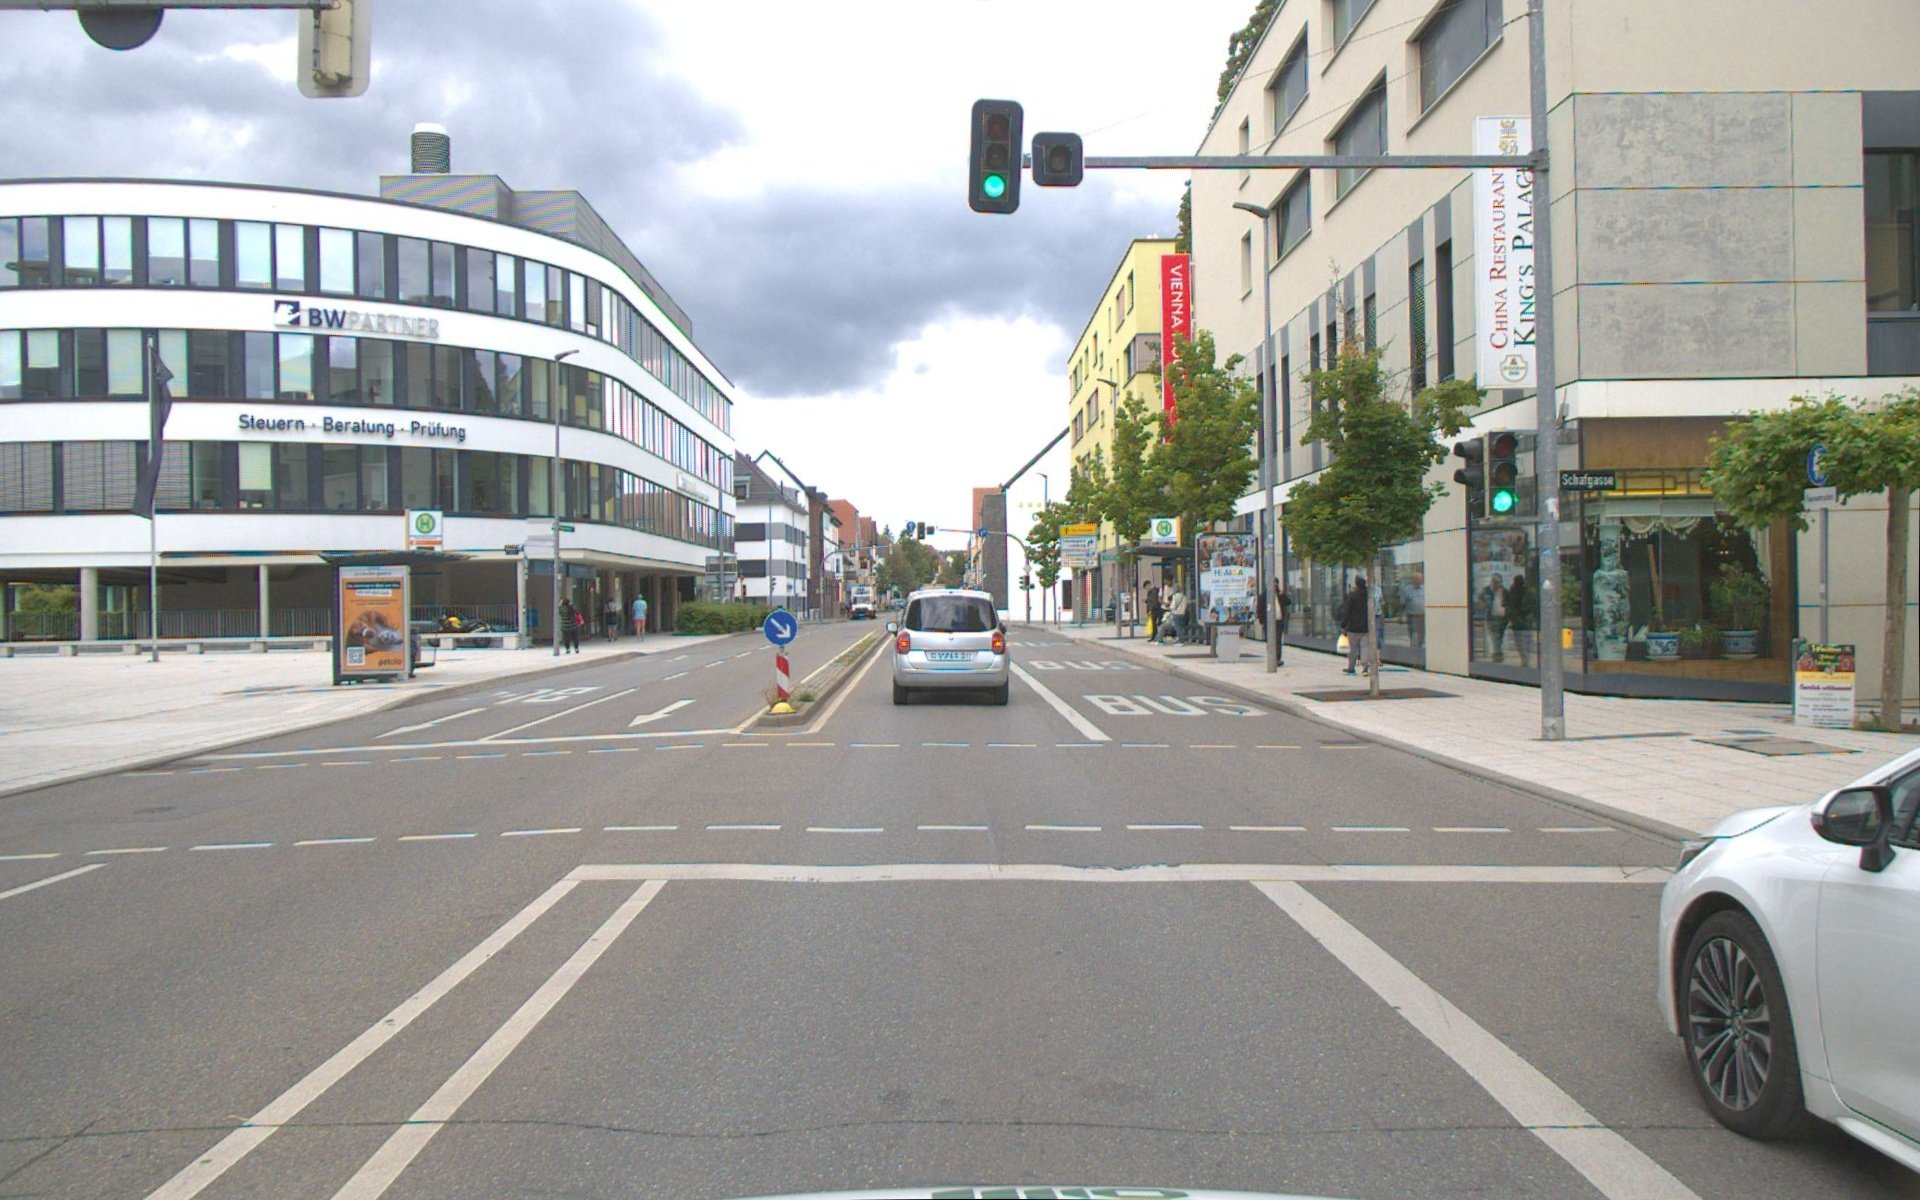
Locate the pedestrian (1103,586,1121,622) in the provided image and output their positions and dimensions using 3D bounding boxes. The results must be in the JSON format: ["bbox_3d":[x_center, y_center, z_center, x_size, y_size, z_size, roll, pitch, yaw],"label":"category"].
[{"bbox_3d":[6.879,0.182,74.735,0.681,1.621,0.603,-2,0,-2],"label":"pedestrian"}]

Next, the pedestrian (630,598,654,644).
[{"bbox_3d":[-11.940,0.784,62.127,0.715,1.703,0.931,0,0,1],"label":"pedestrian"}]

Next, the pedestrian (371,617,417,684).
[{"bbox_3d":[-11.118,0.981,32.510,0.670,1.275,0.576,-2,0,-3],"label":"pedestrian"}]

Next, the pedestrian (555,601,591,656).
[{"bbox_3d":[-11.394,0.837,48.714,0.812,1.594,0.813,0,0,4],"label":"pedestrian"}]

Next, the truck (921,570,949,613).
[{"bbox_3d":[-2.306,-0.810,156.444,2.542,3.925,6.847,-1,0,0],"label":"truck"}]

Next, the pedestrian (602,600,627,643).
[{"bbox_3d":[-13.147,0.811,62.909,0.715,1.641,0.931,0,0,1],"label":"pedestrian"}]

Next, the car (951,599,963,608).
[{"bbox_3d":[-0.435,0.513,255.527,1.776,1.378,4.000,-2,0,0],"label":"car"}]

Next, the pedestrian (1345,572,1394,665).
[{"bbox_3d":[7.626,0.341,30.821,0.729,1.698,0.614,-1,0,-1],"label":"pedestrian"}]

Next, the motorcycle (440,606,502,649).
[{"bbox_3d":[-15.925,0.887,53.849,1.816,1.356,0.636,1,0,2],"label":"motorcycle"}]

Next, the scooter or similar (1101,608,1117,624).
[{"bbox_3d":[6.673,0.710,73.998,0.580,0.684,0.824,-2,0,-2],"label":"scooter or similar"}]

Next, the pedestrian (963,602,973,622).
[{"bbox_3d":[0.766,1.083,154.212,0.791,1.818,0.861,-4,0,0],"label":"pedestrian"}]

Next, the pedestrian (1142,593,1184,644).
[{"bbox_3d":[5.337,0.480,43.495,0.924,1.281,0.732,-2,0,-4],"label":"pedestrian"}]

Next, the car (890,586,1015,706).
[{"bbox_3d":[-0.139,0.629,24.371,1.672,1.606,3.999,1,0,-1],"label":"car"}]

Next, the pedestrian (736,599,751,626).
[{"bbox_3d":[-14.035,0.789,107.035,0.864,1.698,0.814,-1,2,-2],"label":"pedestrian"}]

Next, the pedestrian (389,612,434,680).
[{"bbox_3d":[-11.206,0.933,33.813,0.670,1.343,0.576,-3,0,-3],"label":"pedestrian"}]

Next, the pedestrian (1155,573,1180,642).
[{"bbox_3d":[5.588,0.196,44.483,0.567,1.800,0.857,-2,0,4],"label":"pedestrian"}]

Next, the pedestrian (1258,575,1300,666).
[{"bbox_3d":[6.049,0.387,31.340,0.641,1.698,0.614,-1,0,-1],"label":"pedestrian"}]

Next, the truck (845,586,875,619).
[{"bbox_3d":[-9.360,0.227,155.408,2.386,3.005,8.362,1,0,-1],"label":"truck"}]

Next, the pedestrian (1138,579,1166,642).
[{"bbox_3d":[5.327,0.284,45.923,0.705,1.713,0.733,-2,0,4],"label":"pedestrian"}]

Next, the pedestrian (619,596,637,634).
[{"bbox_3d":[-15.366,0.693,76.487,0.495,1.760,0.614,-1,0,30],"label":"pedestrian"}]

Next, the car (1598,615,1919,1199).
[{"bbox_3d":[3.092,0.775,3.330,1.747,1.450,4.513,0,0,-2],"label":"car"}]

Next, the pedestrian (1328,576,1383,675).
[{"bbox_3d":[6.693,0.420,28.018,0.725,1.636,0.714,-1,0,-1],"label":"pedestrian"}]

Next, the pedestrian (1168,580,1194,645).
[{"bbox_3d":[5.632,0.309,42.212,0.567,1.618,0.733,-2,0,4],"label":"pedestrian"}]
